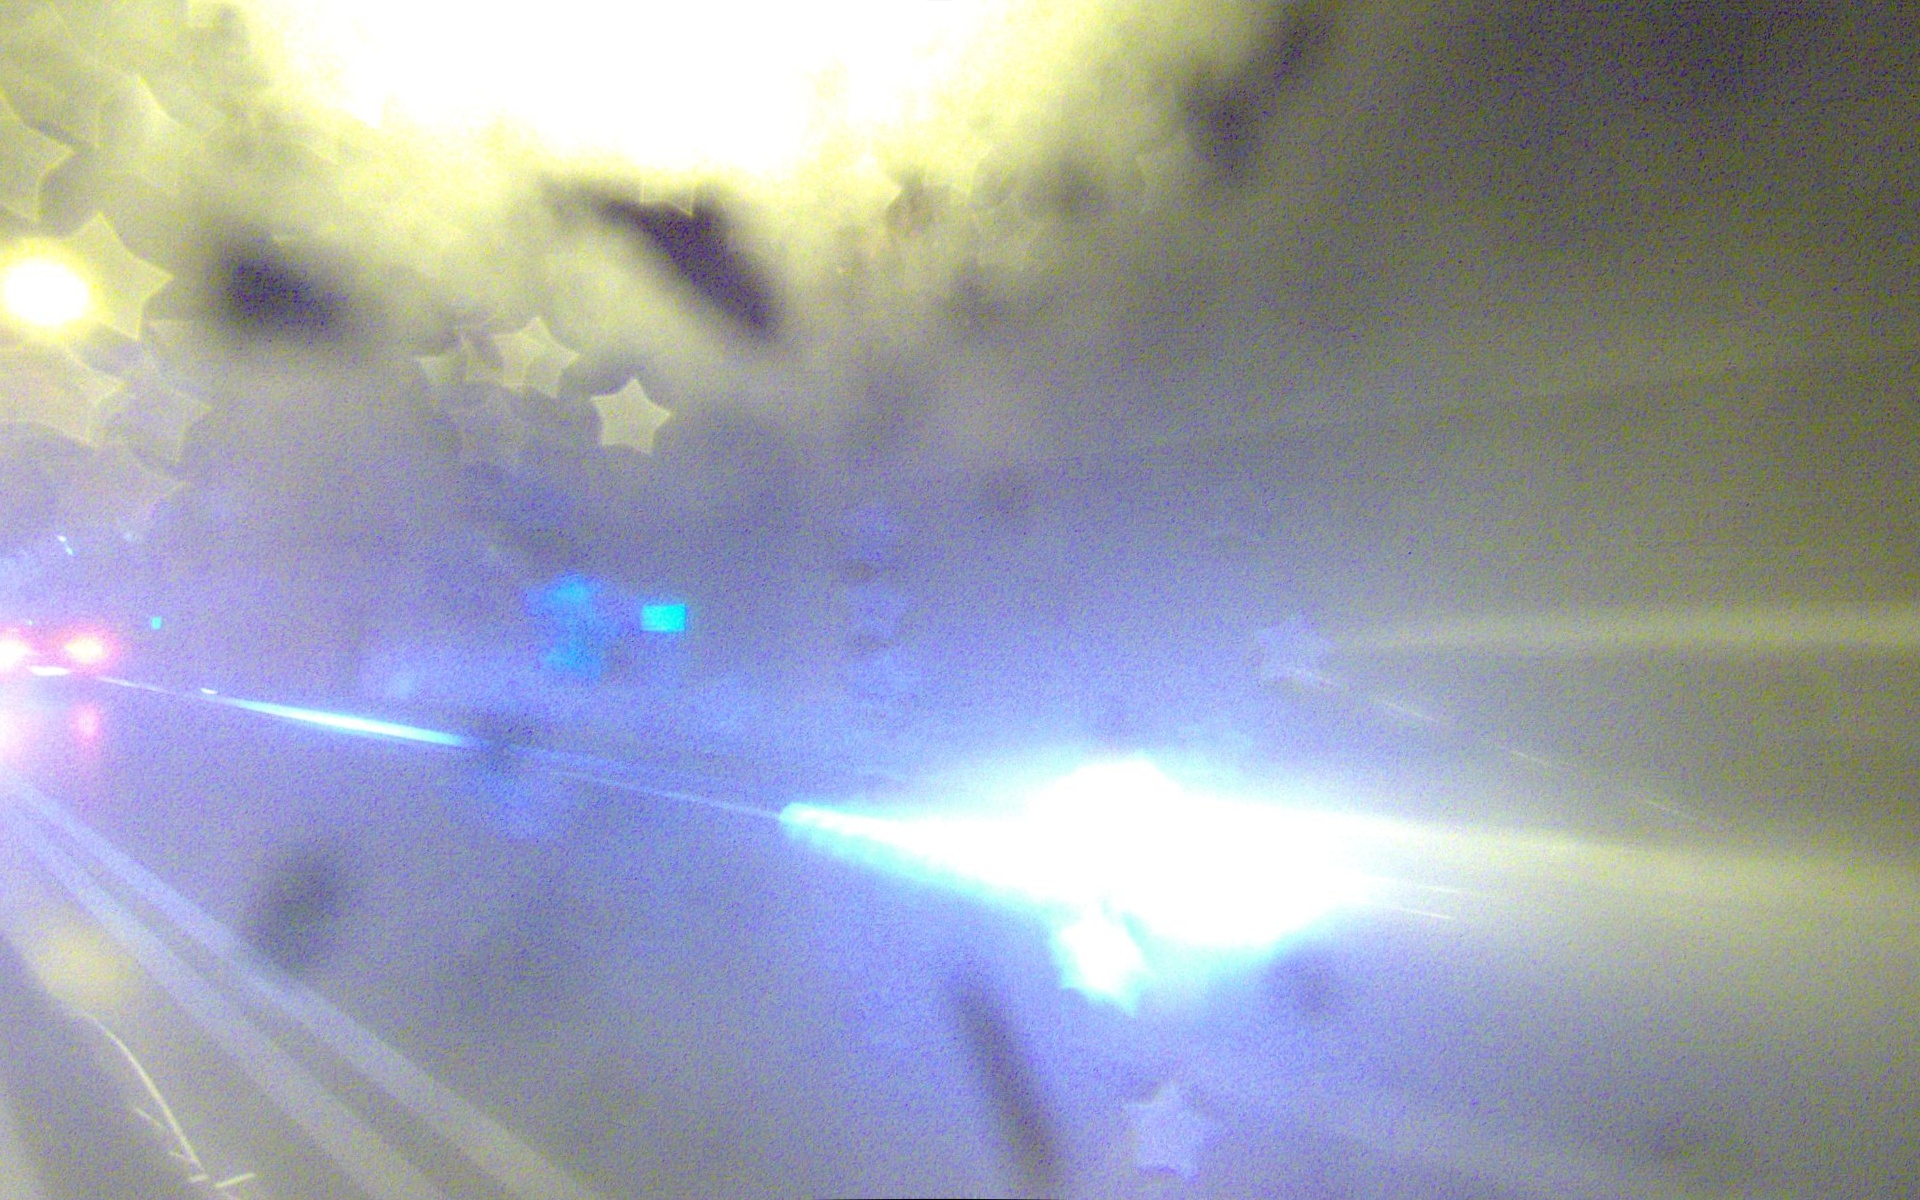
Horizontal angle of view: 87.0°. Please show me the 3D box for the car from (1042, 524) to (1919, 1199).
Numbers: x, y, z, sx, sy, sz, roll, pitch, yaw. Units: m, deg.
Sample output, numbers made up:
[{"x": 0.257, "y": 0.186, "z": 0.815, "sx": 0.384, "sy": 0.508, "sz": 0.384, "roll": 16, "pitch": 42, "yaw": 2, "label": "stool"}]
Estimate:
[{"x": 2.241, "y": 0.621, "z": 1.862, "sx": 3.884, "sy": 1.492, "sz": 1.741, "roll": -2, "pitch": -1, "yaw": 41, "label": "car"}]

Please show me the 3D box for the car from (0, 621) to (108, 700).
[{"x": -19.538, "y": 1.214, "z": 21.422, "sx": 3.834, "sy": 1.452, "sz": 1.717, "roll": -2, "pitch": 1, "yaw": 41, "label": "car"}]
